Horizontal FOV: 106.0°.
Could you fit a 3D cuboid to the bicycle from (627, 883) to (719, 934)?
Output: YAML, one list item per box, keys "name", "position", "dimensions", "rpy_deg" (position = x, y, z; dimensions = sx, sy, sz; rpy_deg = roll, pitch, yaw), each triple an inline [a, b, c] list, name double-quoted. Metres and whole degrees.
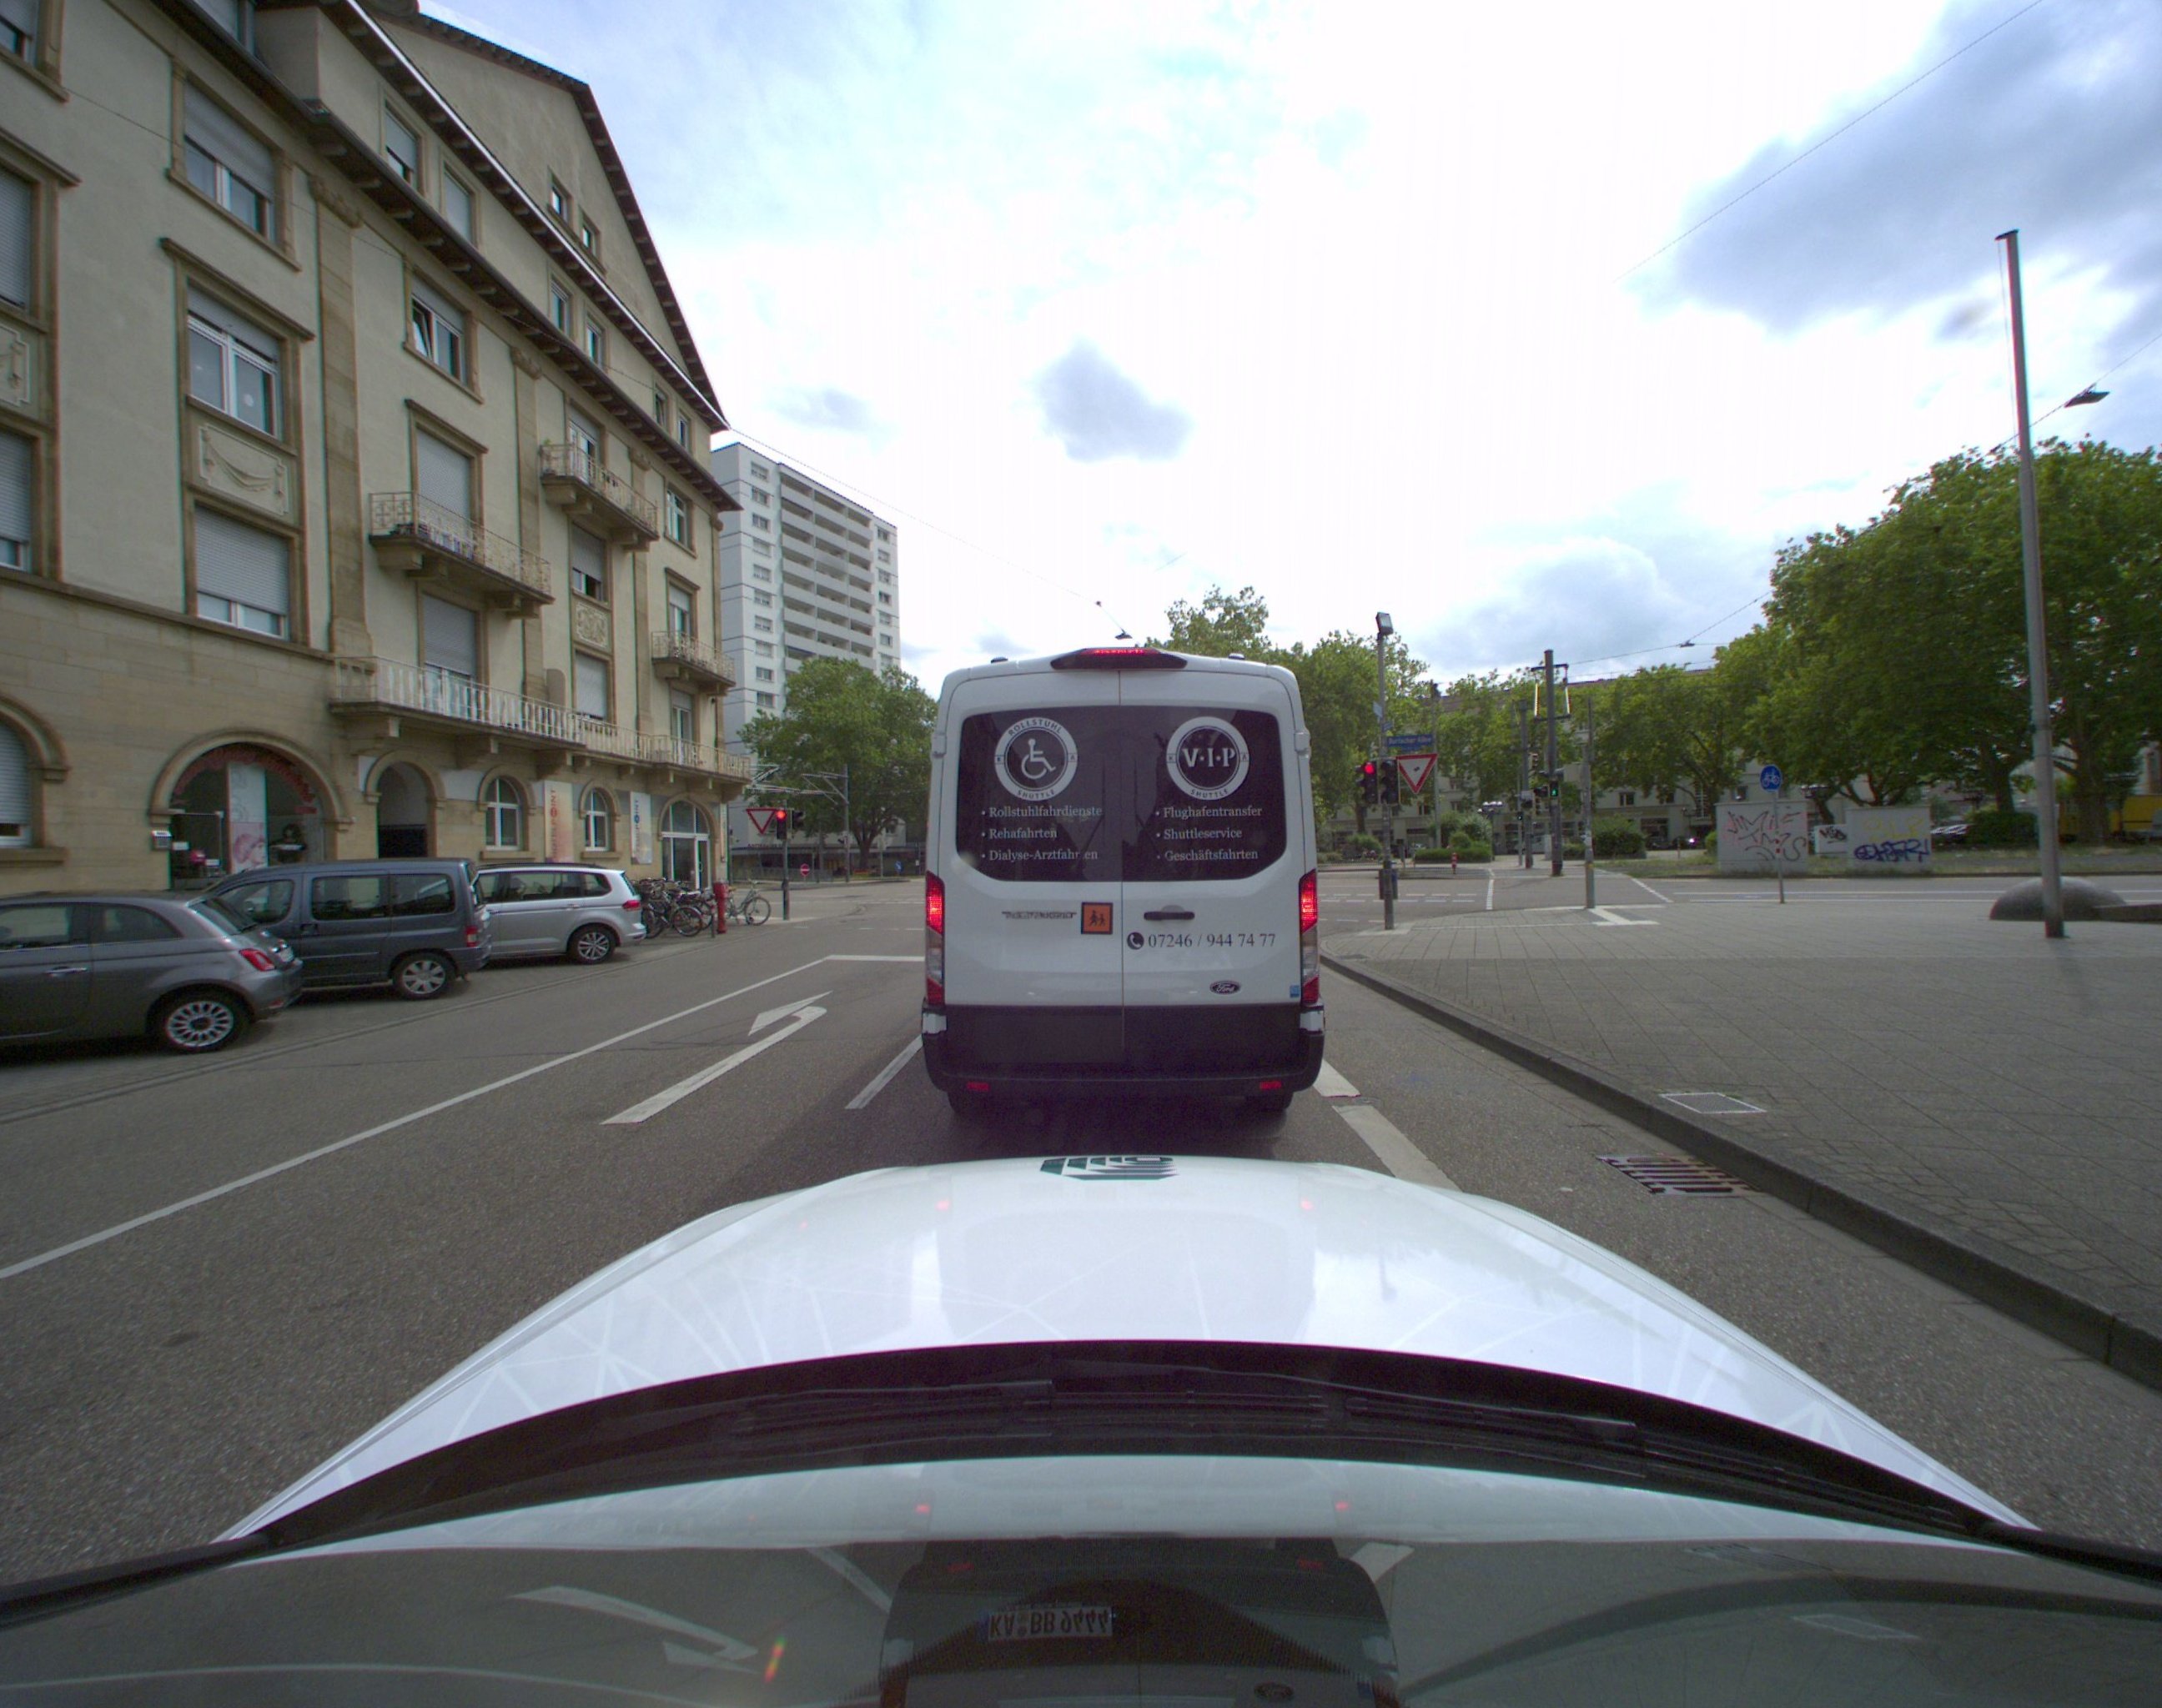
- name: "bicycle"
  position: [-9.459, 1.254, 18.912]
  dimensions: [1.807, 1.120, 0.593]
  rpy_deg: [0, 0, -6]

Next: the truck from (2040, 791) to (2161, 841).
- name: "truck"
  position: [58.603, -2.091, 46.130]
  dimensions: [3.042, 2.577, 6.549]
  rpy_deg: [-2, 0, 25]

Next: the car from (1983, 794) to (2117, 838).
- name: "car"
  position: [64.612, -2.507, 54.454]
  dimensions: [5.271, 2.585, 2.192]
  rpy_deg: [-2, -1, 24]

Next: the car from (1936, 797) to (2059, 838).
- name: "car"
  position: [65.722, -2.573, 58.546]
  dimensions: [5.271, 2.585, 2.512]
  rpy_deg: [-2, -1, 24]

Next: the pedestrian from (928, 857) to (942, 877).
- name: "pedestrian"
  position: [-11.338, 1.002, 63.133]
  dimensions: [0.801, 1.572, 0.727]
  rpy_deg: [-2, 0, 17]

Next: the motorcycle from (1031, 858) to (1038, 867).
- name: "motorcycle"
  position: [-5.833, 1.069, 102.435]
  dimensions: [0.680, 0.971, 2.325]
  rpy_deg: [-2, 0, 2]

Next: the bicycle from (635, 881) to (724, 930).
- name: "bicycle"
  position: [-9.643, 1.230, 19.615]
  dimensions: [1.807, 1.120, 0.593]
  rpy_deg: [0, 0, -6]

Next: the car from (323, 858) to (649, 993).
- name: "car"
  position: [-9.502, 1.018, 13.322]
  dimensions: [4.031, 1.773, 1.776]
  rpy_deg: [-2, 0, -37]

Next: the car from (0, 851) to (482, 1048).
- name: "car"
  position: [-9.915, 0.973, 10.023]
  dimensions: [4.031, 1.878, 1.776]
  rpy_deg: [-2, 0, -37]

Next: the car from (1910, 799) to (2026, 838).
- name: "car"
  position: [66.666, -2.637, 61.363]
  dimensions: [5.271, 2.585, 2.512]
  rpy_deg: [-2, -1, 24]

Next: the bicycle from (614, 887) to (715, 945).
- name: "bicycle"
  position: [-8.618, 1.276, 16.870]
  dimensions: [1.799, 1.120, 0.595]
  rpy_deg: [-2, 0, 8]

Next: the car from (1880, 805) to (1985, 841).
- name: "car"
  position: [68.911, -2.494, 66.016]
  dimensions: [5.271, 2.585, 2.512]
  rpy_deg: [-2, -1, 24]

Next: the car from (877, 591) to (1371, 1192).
- name: "car"
  position: [0.224, 0.131, 5.911]
  dimensions: [2.174, 2.647, 4.629]
  rpy_deg: [0, 1, 0]

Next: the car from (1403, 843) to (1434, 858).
- name: "car"
  position: [36.259, -0.408, 87.521]
  dimensions: [1.983, 1.503, 4.008]
  rpy_deg: [-2, 0, 7]

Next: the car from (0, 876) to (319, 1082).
- name: "car"
  position: [-9.856, 1.121, 7.428]
  dimensions: [4.031, 1.651, 1.776]
  rpy_deg: [-2, 0, -37]

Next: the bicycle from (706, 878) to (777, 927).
- name: "bicycle"
  position: [-8.642, 1.217, 20.709]
  dimensions: [1.859, 1.167, 0.500]
  rpy_deg: [0, 0, 22]

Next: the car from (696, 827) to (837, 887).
- name: "car"
  position: [-22.291, 0.270, 57.618]
  dimensions: [9.793, 3.915, 3.476]
  rpy_deg: [-2, 0, 26]

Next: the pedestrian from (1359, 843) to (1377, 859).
- name: "pedestrian"
  position: [24.698, -0.258, 70.009]
  dimensions: [1.086, 1.236, 1.443]
  rpy_deg: [-4, -1, 6]

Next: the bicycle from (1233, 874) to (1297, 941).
- name: "bicycle"
  position: [3.455, 0.959, 15.154]
  dimensions: [0.895, 1.075, 1.980]
  rpy_deg: [-2, 0, 20]

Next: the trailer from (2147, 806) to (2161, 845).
- name: "trailer"
  position: [55.386, -1.453, 39.292]
  dimensions: [4.381, 1.925, 1.865]
  rpy_deg: [-2, 0, 26]

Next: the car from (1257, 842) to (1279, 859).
- name: "car"
  position: [21.653, -0.390, 94.264]
  dimensions: [1.983, 1.930, 4.008]
  rpy_deg: [-2, 0, 7]

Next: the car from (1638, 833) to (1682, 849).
- name: "car"
  position: [55.758, -1.239, 78.526]
  dimensions: [1.757, 1.503, 4.008]
  rpy_deg: [-2, 0, 7]

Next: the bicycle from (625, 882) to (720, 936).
- name: "bicycle"
  position: [-9.152, 1.217, 18.293]
  dimensions: [1.807, 1.166, 0.593]
  rpy_deg: [0, 0, -6]

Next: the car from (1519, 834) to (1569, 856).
- name: "car"
  position: [44.070, -0.870, 77.587]
  dimensions: [3.950, 1.883, 1.868]
  rpy_deg: [-2, 0, 26]

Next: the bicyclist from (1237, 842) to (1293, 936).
- name: "bicyclist"
  position: [3.423, 0.636, 15.109]
  dimensions: [0.896, 1.683, 0.760]
  rpy_deg: [-2, 0, 19]

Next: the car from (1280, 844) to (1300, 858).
- name: "car"
  position: [26.646, -0.394, 103.904]
  dimensions: [1.788, 1.684, 4.023]
  rpy_deg: [-2, 0, 24]

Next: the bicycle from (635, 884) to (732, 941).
- name: "bicycle"
  position: [-8.553, 1.240, 17.538]
  dimensions: [1.800, 1.120, 0.595]
  rpy_deg: [2, 0, 5]

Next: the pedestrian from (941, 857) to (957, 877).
- name: "pedestrian"
  position: [-10.251, 1.044, 63.362]
  dimensions: [0.923, 1.514, 0.726]
  rpy_deg: [-2, 0, 14]
